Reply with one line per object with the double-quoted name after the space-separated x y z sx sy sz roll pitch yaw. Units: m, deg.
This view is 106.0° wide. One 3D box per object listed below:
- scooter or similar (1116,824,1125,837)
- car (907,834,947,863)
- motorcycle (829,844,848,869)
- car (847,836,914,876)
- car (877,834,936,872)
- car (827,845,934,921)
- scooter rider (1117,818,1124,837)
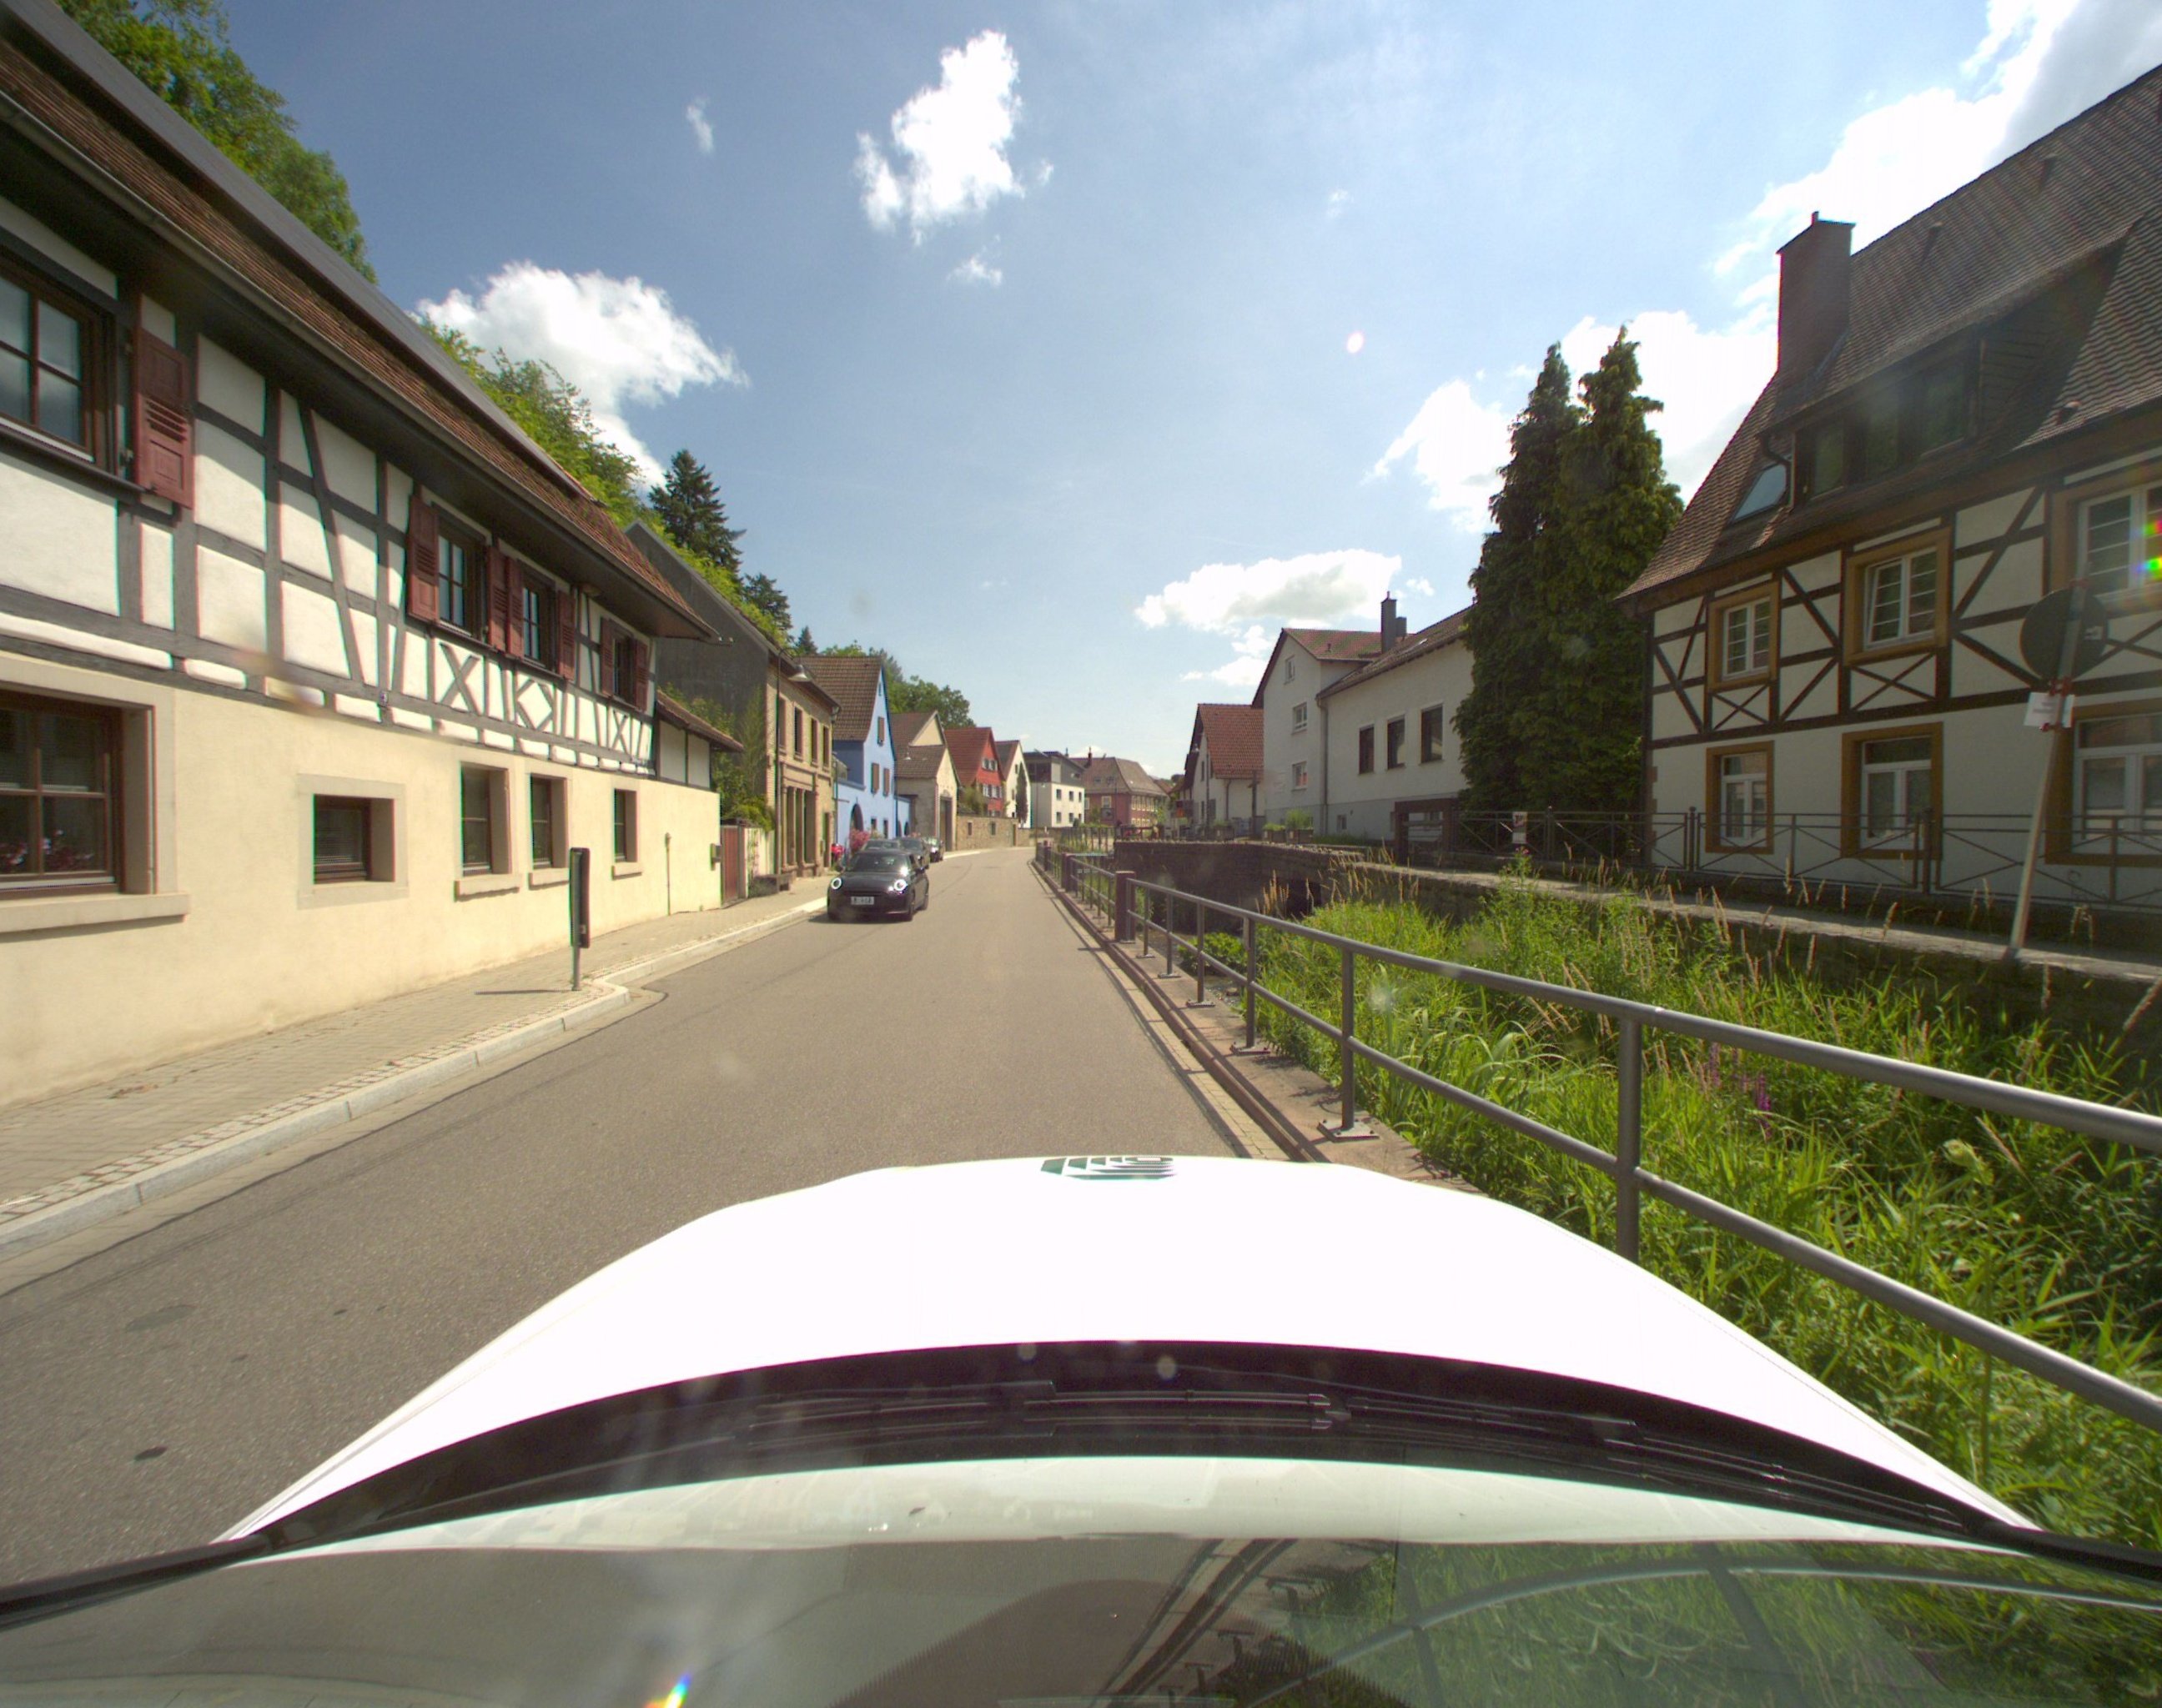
3.685 -2.184 76.306 0.640 1.142 1.809 -1 1 -5 "scooter or similar"
-8.867 -0.363 47.292 1.713 1.529 3.854 -1 2 -2 "car"
-10.401 0.105 34.959 0.417 1.001 1.854 5 0 -7 "motorcycle"
-7.771 0.048 31.934 1.954 1.465 4.536 1 1 -6 "car"
-7.824 -0.101 36.925 1.881 1.463 4.663 3 2 -4 "car"
-4.319 0.561 18.155 1.697 1.465 4.425 1 0 -6 "car"
3.694 -2.499 76.361 0.640 1.731 0.553 1 1 -5 "scooter rider"
